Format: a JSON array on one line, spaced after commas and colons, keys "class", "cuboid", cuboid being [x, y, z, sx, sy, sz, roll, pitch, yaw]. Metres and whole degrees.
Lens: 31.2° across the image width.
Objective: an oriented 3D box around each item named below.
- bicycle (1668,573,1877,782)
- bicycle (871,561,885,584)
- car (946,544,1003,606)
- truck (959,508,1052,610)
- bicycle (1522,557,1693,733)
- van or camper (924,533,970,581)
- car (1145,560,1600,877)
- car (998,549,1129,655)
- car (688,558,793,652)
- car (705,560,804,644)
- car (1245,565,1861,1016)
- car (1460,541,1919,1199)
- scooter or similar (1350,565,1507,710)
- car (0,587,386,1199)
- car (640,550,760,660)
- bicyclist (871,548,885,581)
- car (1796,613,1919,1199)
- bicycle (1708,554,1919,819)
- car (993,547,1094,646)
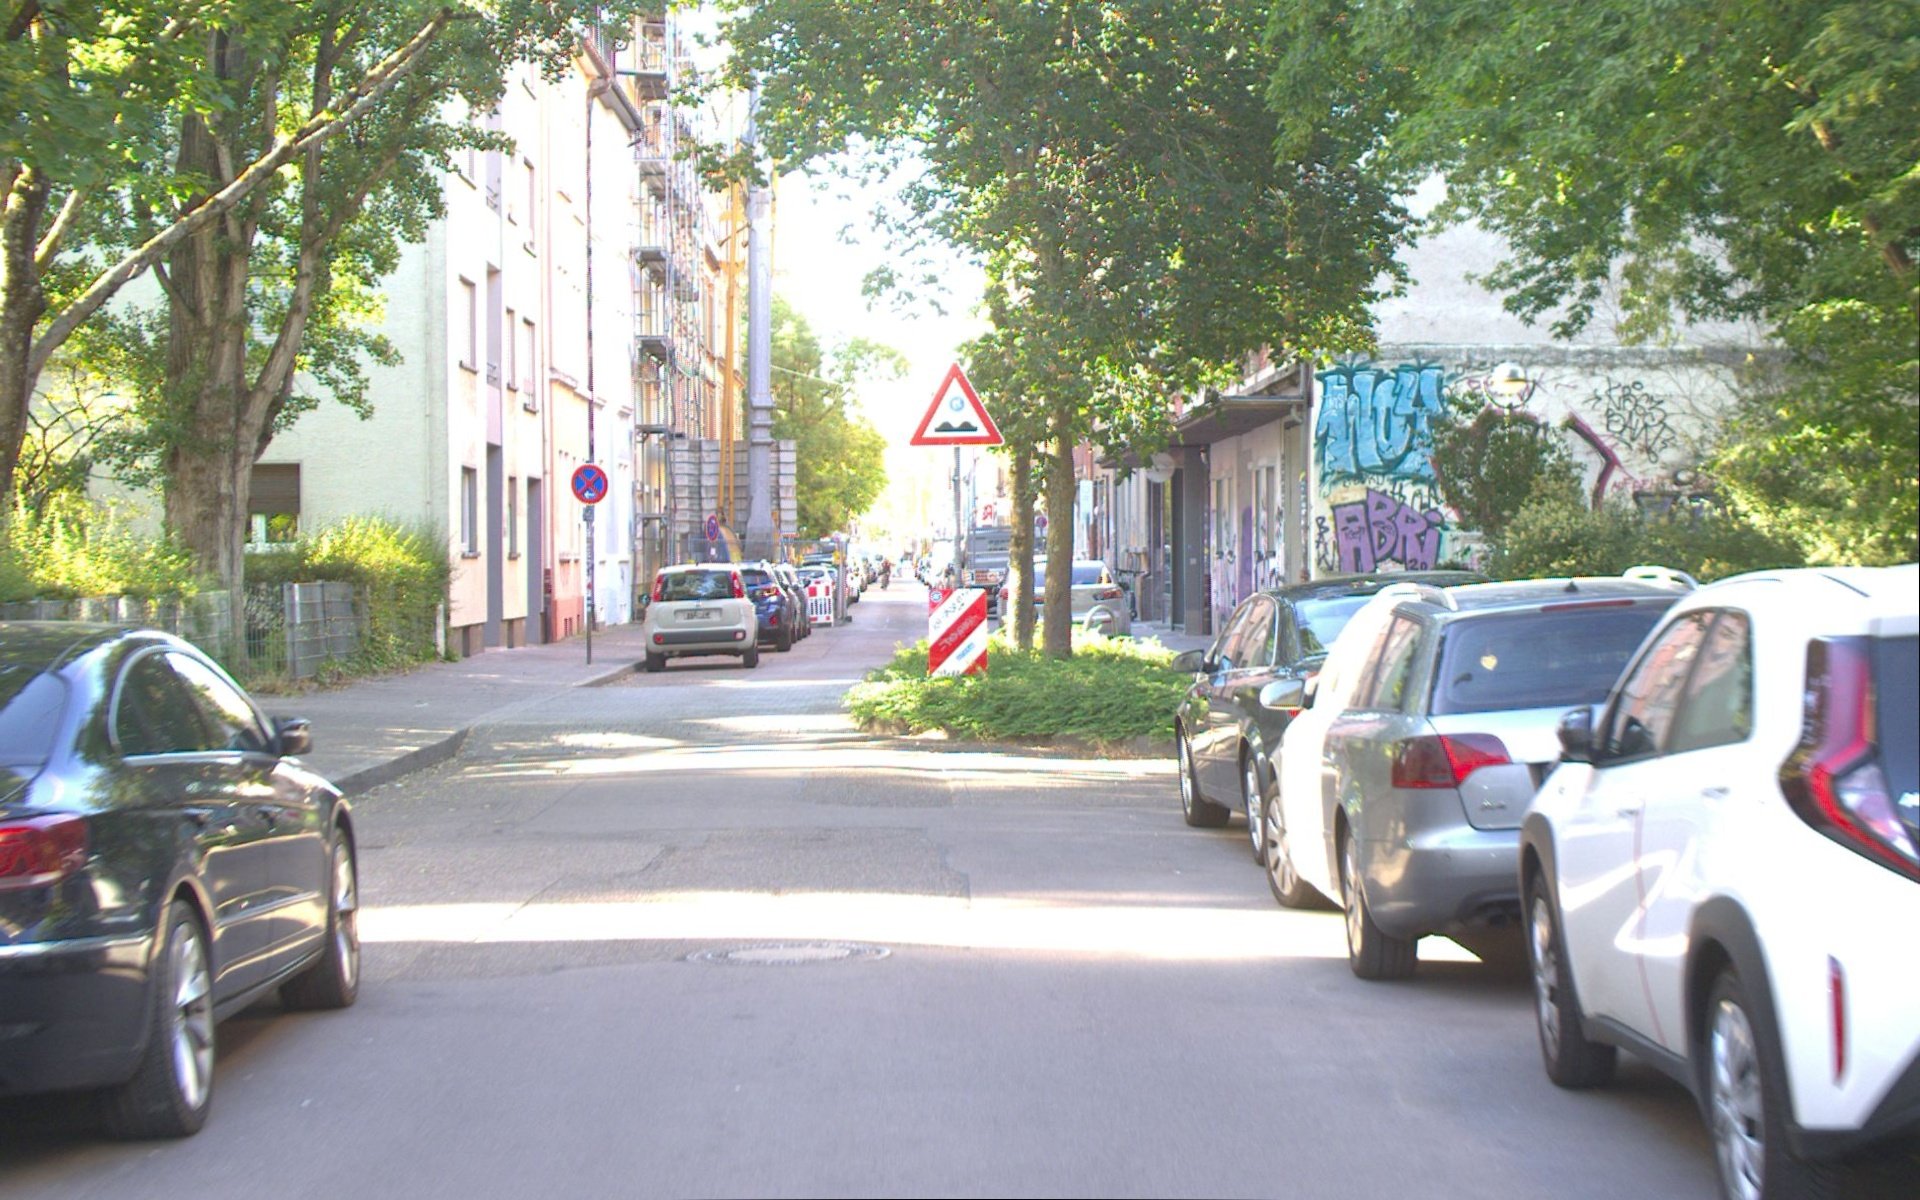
[{"class": "bicycle", "cuboid": [5.029, 0.454, 21.396, 0.847, 1.196, 1.982, -1, 1, 1]}, {"class": "bicycle", "cuboid": [-4.365, -1.486, 183.243, 0.724, 1.182, 2.042, 1, 2, -1]}, {"class": "car", "cuboid": [0.477, -0.836, 115.264, 1.674, 2.024, 3.870, -1, 1, -3]}, {"class": "truck", "cuboid": [1.180, -1.102, 92.267, 2.189, 2.598, 5.235, -2, 1, -2]}, {"class": "bicycle", "cuboid": [5.032, 0.317, 26.891, 0.847, 1.263, 2.692, -1, 1, 1]}, {"class": "van or camper", "cuboid": [-0.693, -2.273, 181.793, 1.993, 2.500, 4.203, -2, 1, -5]}, {"class": "car", "cuboid": [2.125, 0.546, 18.901, 1.720, 1.488, 4.414, -2, 1, -3]}, {"class": "car", "cuboid": [1.556, 0.012, 52.965, 1.721, 1.557, 4.399, 0, 0, -2]}, {"class": "car", "cuboid": [-3.828, 0.061, 60.225, 1.729, 1.534, 4.378, -2, 1, -3]}, {"class": "car", "cuboid": [-3.867, 0.008, 65.227, 1.675, 1.506, 4.415, -1, 1, -1]}, {"class": "car", "cuboid": [2.180, 0.619, 13.762, 1.659, 1.488, 4.354, -1, 1, -1]}, {"class": "car", "cuboid": [2.410, 0.639, 8.944, 1.593, 1.580, 3.764, -1, 1, -1]}, {"class": "scooter or similar", "cuboid": [4.208, 0.332, 30.957, 0.544, 1.257, 1.473, -2, 1, -32]}, {"class": "car", "cuboid": [-2.968, 0.743, 10.265, 1.779, 1.438, 4.393, -3, 1, -1]}, {"class": "car", "cuboid": [-3.841, 0.054, 51.238, 1.674, 1.534, 3.870, -2, 1, -3]}, {"class": "bicyclist", "cuboid": [-4.361, -1.892, 183.385, 0.730, 1.755, 0.835, 0, 1, 0]}, {"class": "car", "cuboid": [2.553, 0.731, 4.677, 1.593, 1.446, 4.004, -3, 1, -3]}, {"class": "bicycle", "cuboid": [4.971, 0.427, 18.750, 1.291, 1.297, 2.327, -3, 1, 2]}, {"class": "car", "cuboid": [1.416, -0.078, 59.374, 1.640, 1.650, 3.869, 0, 0, 0]}]
